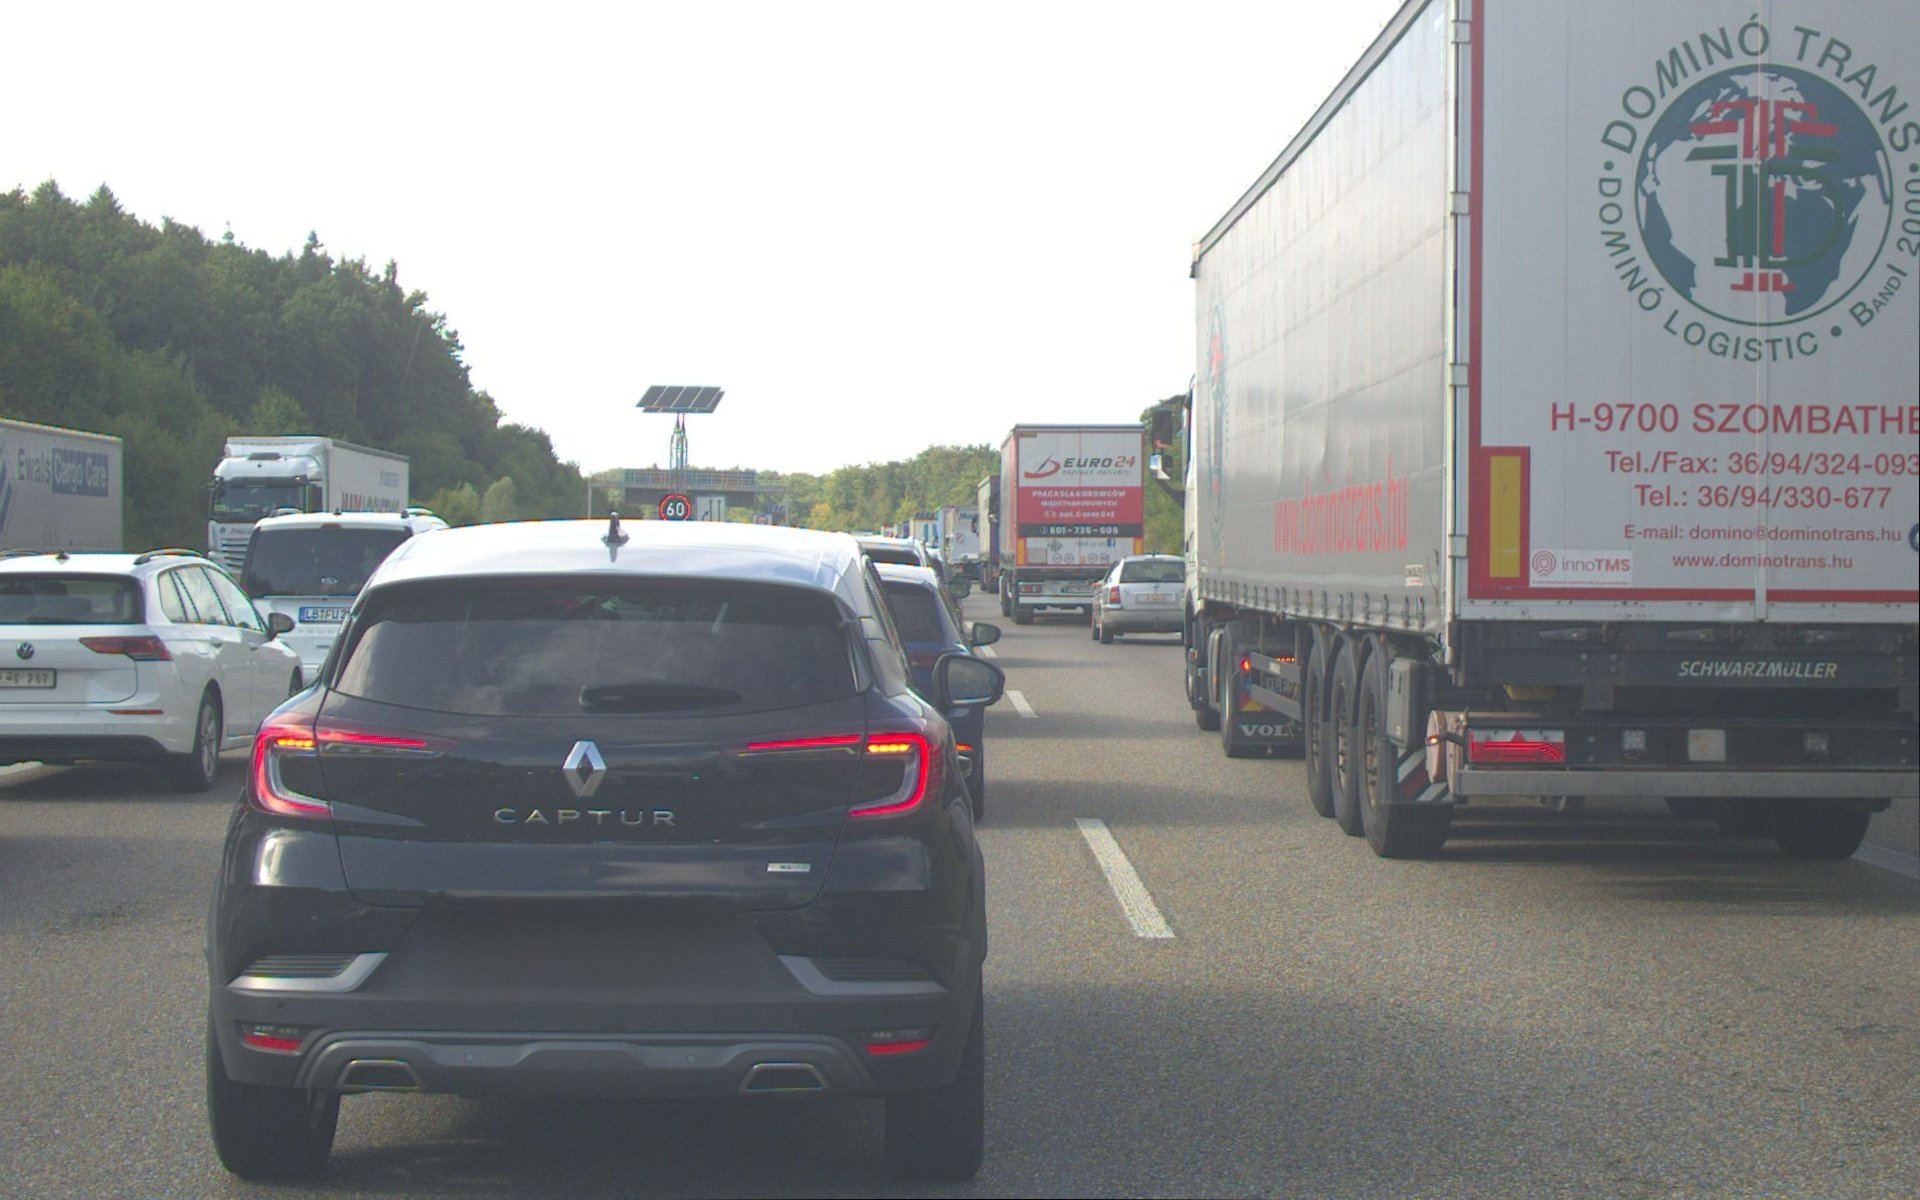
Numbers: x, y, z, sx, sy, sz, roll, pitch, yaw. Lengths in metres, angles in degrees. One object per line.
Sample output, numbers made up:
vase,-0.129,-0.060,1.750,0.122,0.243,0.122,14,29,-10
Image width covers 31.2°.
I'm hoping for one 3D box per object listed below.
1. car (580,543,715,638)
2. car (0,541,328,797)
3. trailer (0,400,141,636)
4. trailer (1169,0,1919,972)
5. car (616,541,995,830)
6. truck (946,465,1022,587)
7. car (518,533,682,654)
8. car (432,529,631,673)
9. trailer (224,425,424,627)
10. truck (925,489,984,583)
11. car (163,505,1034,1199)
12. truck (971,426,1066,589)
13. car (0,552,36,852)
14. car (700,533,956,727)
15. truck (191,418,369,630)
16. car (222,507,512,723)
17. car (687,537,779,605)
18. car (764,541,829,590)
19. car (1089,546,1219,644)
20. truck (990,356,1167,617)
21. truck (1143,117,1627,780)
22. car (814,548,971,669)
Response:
car,-5.485,-0.178,60.818,1.993,1.607,4.000,1,0,0
car,-5.346,0.371,21.832,1.804,1.456,4.308,0,0,1
trailer,-21.140,-1.729,75.524,2.927,4.813,14.655,1,0,-1
trailer,3.229,-0.984,20.112,3.002,4.645,13.291,1,1,-1
car,-0.817,0.437,20.266,1.993,1.509,4.000,1,0,0
truck,1.209,-3.392,161.683,3.167,5.486,12.736,1,0,2
car,-5.337,-0.103,51.431,1.993,1.716,4.000,1,0,0
car,-5.127,-0.008,41.621,1.855,1.635,3.925,1,0,1
trailer,-17.142,-1.920,93.762,3.088,5.056,13.836,1,0,-1
truck,-0.280,-3.591,196.591,3.166,5.142,12.737,1,0,0
car,-0.732,0.548,9.325,1.805,1.547,4.000,0,1,2
truck,2.048,-3.200,123.503,3.166,5.486,12.737,1,0,0
car,-5.563,0.516,14.868,1.843,1.451,4.748,1,1,0
car,-1.048,0.219,29.196,1.993,1.509,4.000,1,0,0
truck,-17.029,-1.854,86.567,3.088,5.083,7.142,1,0,-1
car,-5.239,0.107,30.913,1.911,1.783,4.418,1,0,-1
car,-5.559,-0.731,84.585,1.993,1.607,4.000,1,1,0
car,-5.539,-1.179,116.989,1.993,1.607,4.000,1,1,0
car,3.149,-0.096,56.423,1.804,1.527,3.926,1,0,-1
truck,2.357,-2.253,73.232,3.365,5.027,12.737,1,0,0
truck,3.157,-1.117,27.240,2.997,4.651,5.940,0,1,-1
car,-0.854,0.092,45.854,1.993,1.509,4.000,1,0,0
